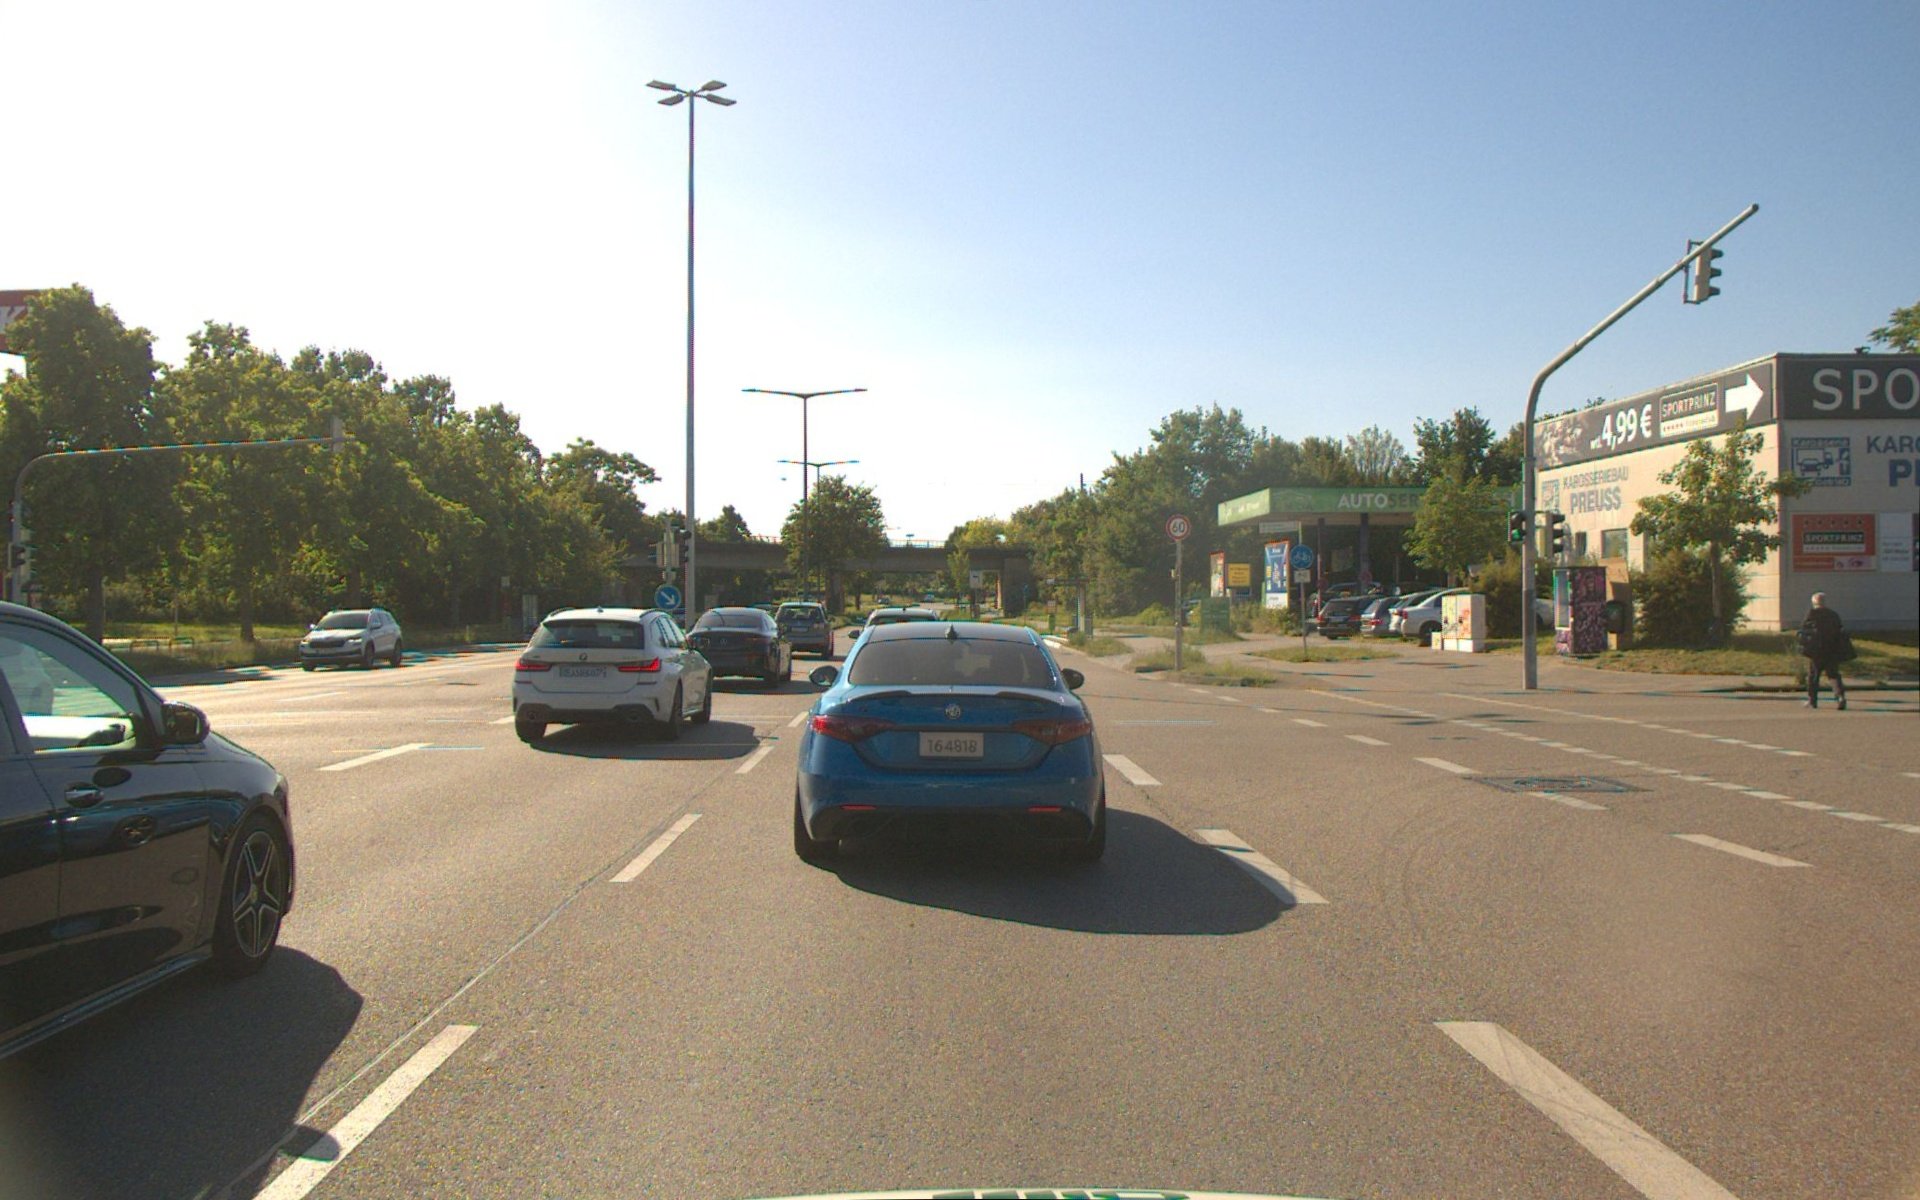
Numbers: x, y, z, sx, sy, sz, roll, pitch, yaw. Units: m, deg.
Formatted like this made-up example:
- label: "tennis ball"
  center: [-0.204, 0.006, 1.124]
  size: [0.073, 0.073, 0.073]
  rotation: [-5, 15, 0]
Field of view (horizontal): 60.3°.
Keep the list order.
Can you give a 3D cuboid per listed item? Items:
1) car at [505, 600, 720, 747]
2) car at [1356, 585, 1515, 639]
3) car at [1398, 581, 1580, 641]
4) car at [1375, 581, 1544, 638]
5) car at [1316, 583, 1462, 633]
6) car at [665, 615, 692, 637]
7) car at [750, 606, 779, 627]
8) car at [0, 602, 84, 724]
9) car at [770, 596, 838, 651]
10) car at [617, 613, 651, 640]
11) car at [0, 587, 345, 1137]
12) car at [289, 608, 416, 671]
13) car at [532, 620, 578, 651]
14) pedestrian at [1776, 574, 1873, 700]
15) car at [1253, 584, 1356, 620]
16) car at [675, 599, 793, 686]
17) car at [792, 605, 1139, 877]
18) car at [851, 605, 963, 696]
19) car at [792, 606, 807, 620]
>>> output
- label: "car"
  center: [-3.978, 0.809, 19.637]
  size: [1.749, 1.516, 4.401]
  rotation: [1, -1, -2]
- label: "car"
  center: [14.763, 0.385, 51.511]
  size: [4.397, 1.479, 1.858]
  rotation: [-2, -1, 0]
- label: "car"
  center: [14.607, 0.302, 45.840]
  size: [4.397, 1.479, 1.858]
  rotation: [-2, -1, 0]
- label: "car"
  center: [14.670, 0.272, 48.749]
  size: [4.397, 1.479, 1.858]
  rotation: [-2, -1, 0]
- label: "car"
  center: [14.331, 0.277, 55.391]
  size: [4.397, 1.479, 1.858]
  rotation: [-2, -1, 0]
- label: "car"
  center: [-22.093, 2.027, 129.981]
  size: [1.577, 1.675, 3.461]
  rotation: [1, -1, -1]
- label: "car"
  center: [-14.917, 1.288, 126.623]
  size: [1.723, 1.516, 4.477]
  rotation: [-2, -1, -1]
- label: "car"
  center: [-12.800, 0.818, 20.620]
  size: [1.723, 1.516, 3.836]
  rotation: [-2, -1, -1]
- label: "car"
  center: [-4.577, 0.705, 48.956]
  size: [1.724, 1.516, 4.401]
  rotation: [1, -1, -2]
- label: "car"
  center: [-21.322, 1.732, 108.319]
  size: [1.577, 1.675, 3.461]
  rotation: [1, -1, -1]
- label: "car"
  center: [-3.530, 0.731, 5.148]
  size: [1.724, 1.516, 4.401]
  rotation: [0, -1, -2]
- label: "car"
  center: [-17.032, 1.081, 46.602]
  size: [1.948, 1.658, 4.477]
  rotation: [-2, -1, -1]
- label: "car"
  center: [-21.054, 1.826, 86.072]
  size: [1.583, 1.587, 3.356]
  rotation: [1, -1, -1]
- label: "pedestrian"
  center: [12.530, 0.532, 24.004]
  size: [0.906, 1.766, 0.938]
  rotation: [1, -1, -1]
- label: "car"
  center: [16.338, 0.087, 78.580]
  size: [4.458, 1.516, 1.765]
  rotation: [-2, -1, 0]
- label: "car"
  center: [-4.242, 0.783, 31.616]
  size: [1.760, 1.516, 4.473]
  rotation: [1, -1, -2]
- label: "car"
  center: [-0.047, 0.793, 11.149]
  size: [1.857, 1.443, 4.401]
  rotation: [1, -1, -2]
- label: "car"
  center: [-0.943, 0.851, 29.127]
  size: [1.813, 1.443, 4.401]
  rotation: [1, -1, -2]
- label: "car"
  center: [-19.722, 1.649, 203.573]
  size: [1.539, 1.646, 3.999]
  rotation: [1, -1, -1]
